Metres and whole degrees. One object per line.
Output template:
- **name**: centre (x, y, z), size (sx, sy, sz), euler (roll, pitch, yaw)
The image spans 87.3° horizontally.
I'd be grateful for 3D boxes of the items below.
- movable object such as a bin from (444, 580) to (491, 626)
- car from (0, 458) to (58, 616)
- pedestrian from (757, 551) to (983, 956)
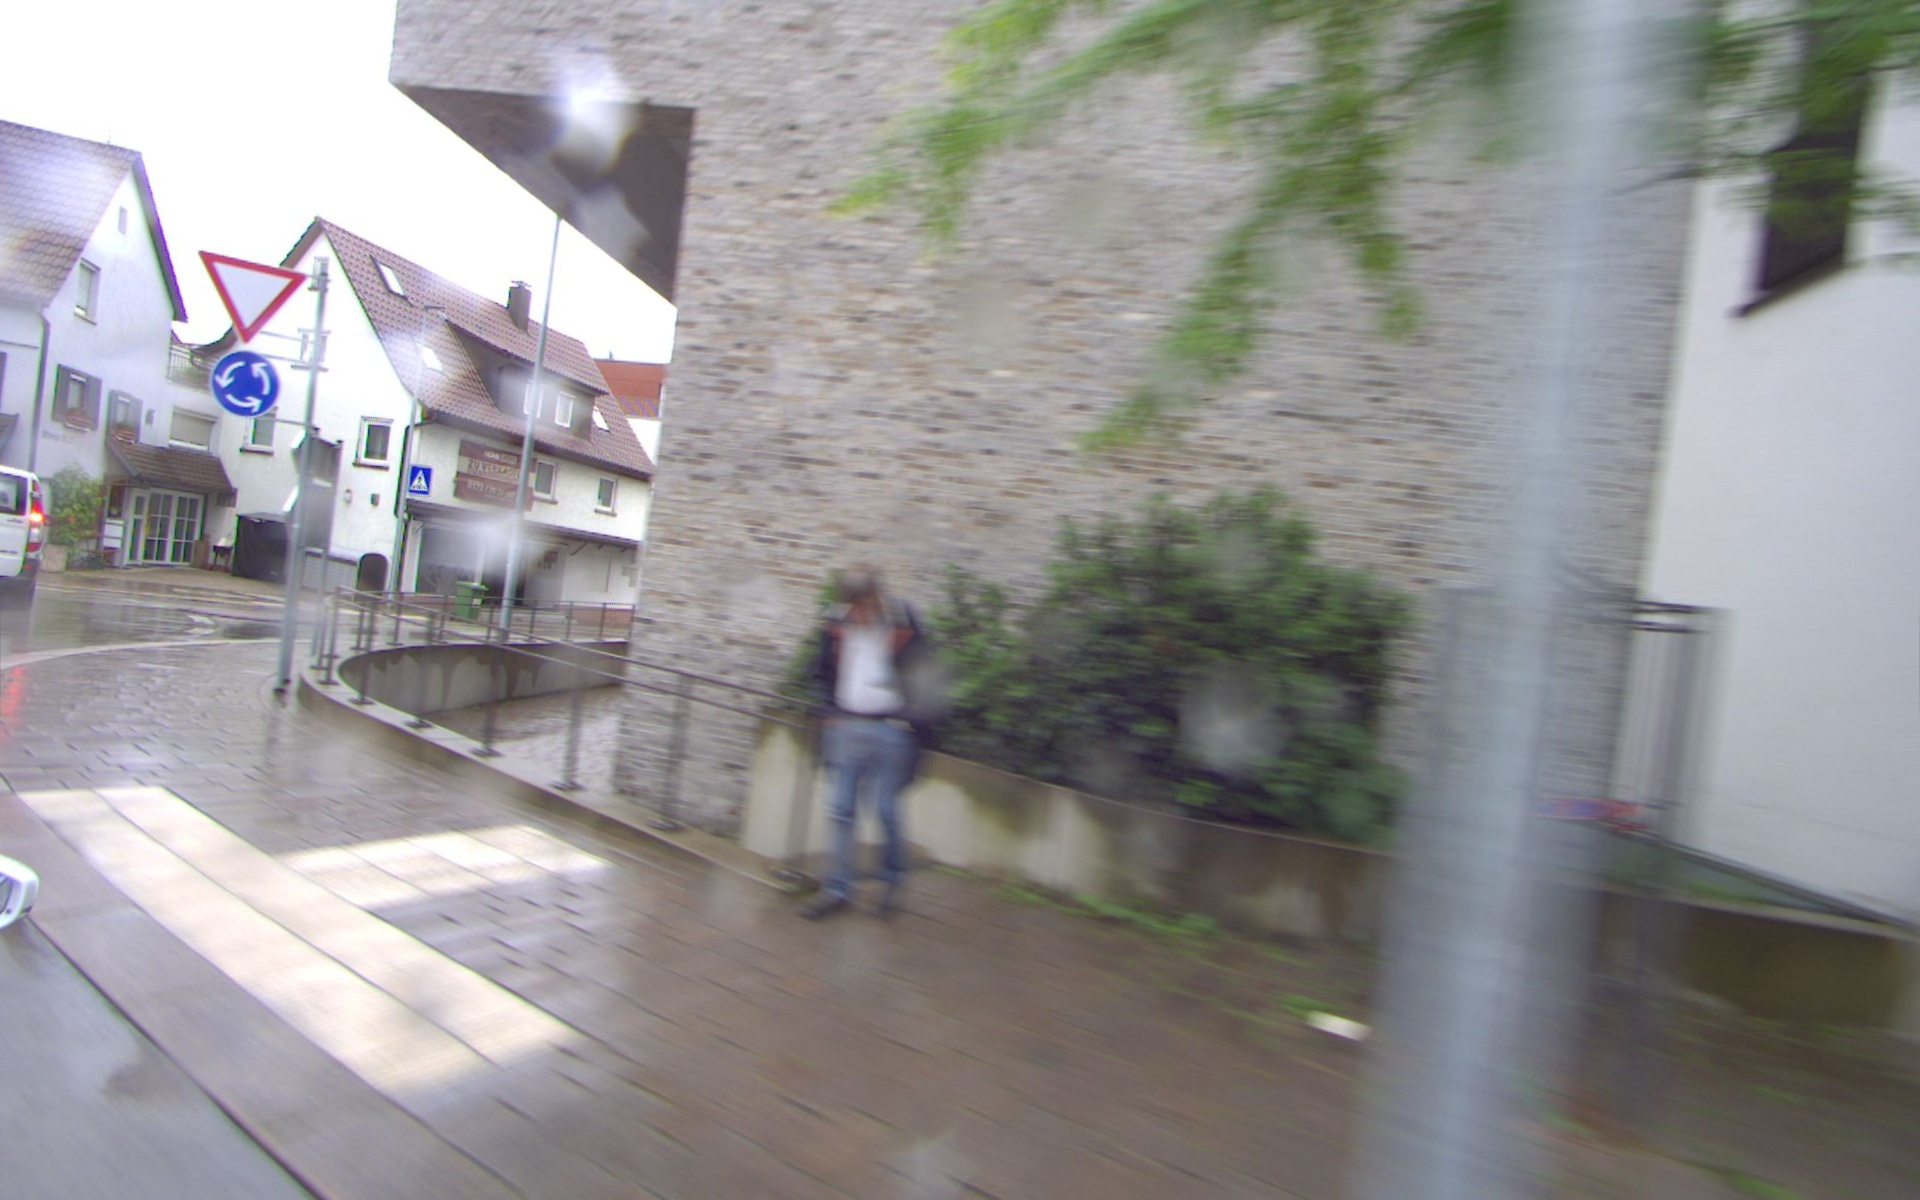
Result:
- **movable object such as a bin**: centre (-13.426, 0.087, 27.444), size (0.676, 1.093, 0.762), euler (10, -1, 9)
- **car**: centre (-14.045, -0.977, 13.876), size (2.146, 1.921, 4.866), euler (7, -2, -43)
- **pedestrian**: centre (-0.390, 0.640, 4.532), size (0.690, 1.627, 0.584), euler (6, 2, 19)
